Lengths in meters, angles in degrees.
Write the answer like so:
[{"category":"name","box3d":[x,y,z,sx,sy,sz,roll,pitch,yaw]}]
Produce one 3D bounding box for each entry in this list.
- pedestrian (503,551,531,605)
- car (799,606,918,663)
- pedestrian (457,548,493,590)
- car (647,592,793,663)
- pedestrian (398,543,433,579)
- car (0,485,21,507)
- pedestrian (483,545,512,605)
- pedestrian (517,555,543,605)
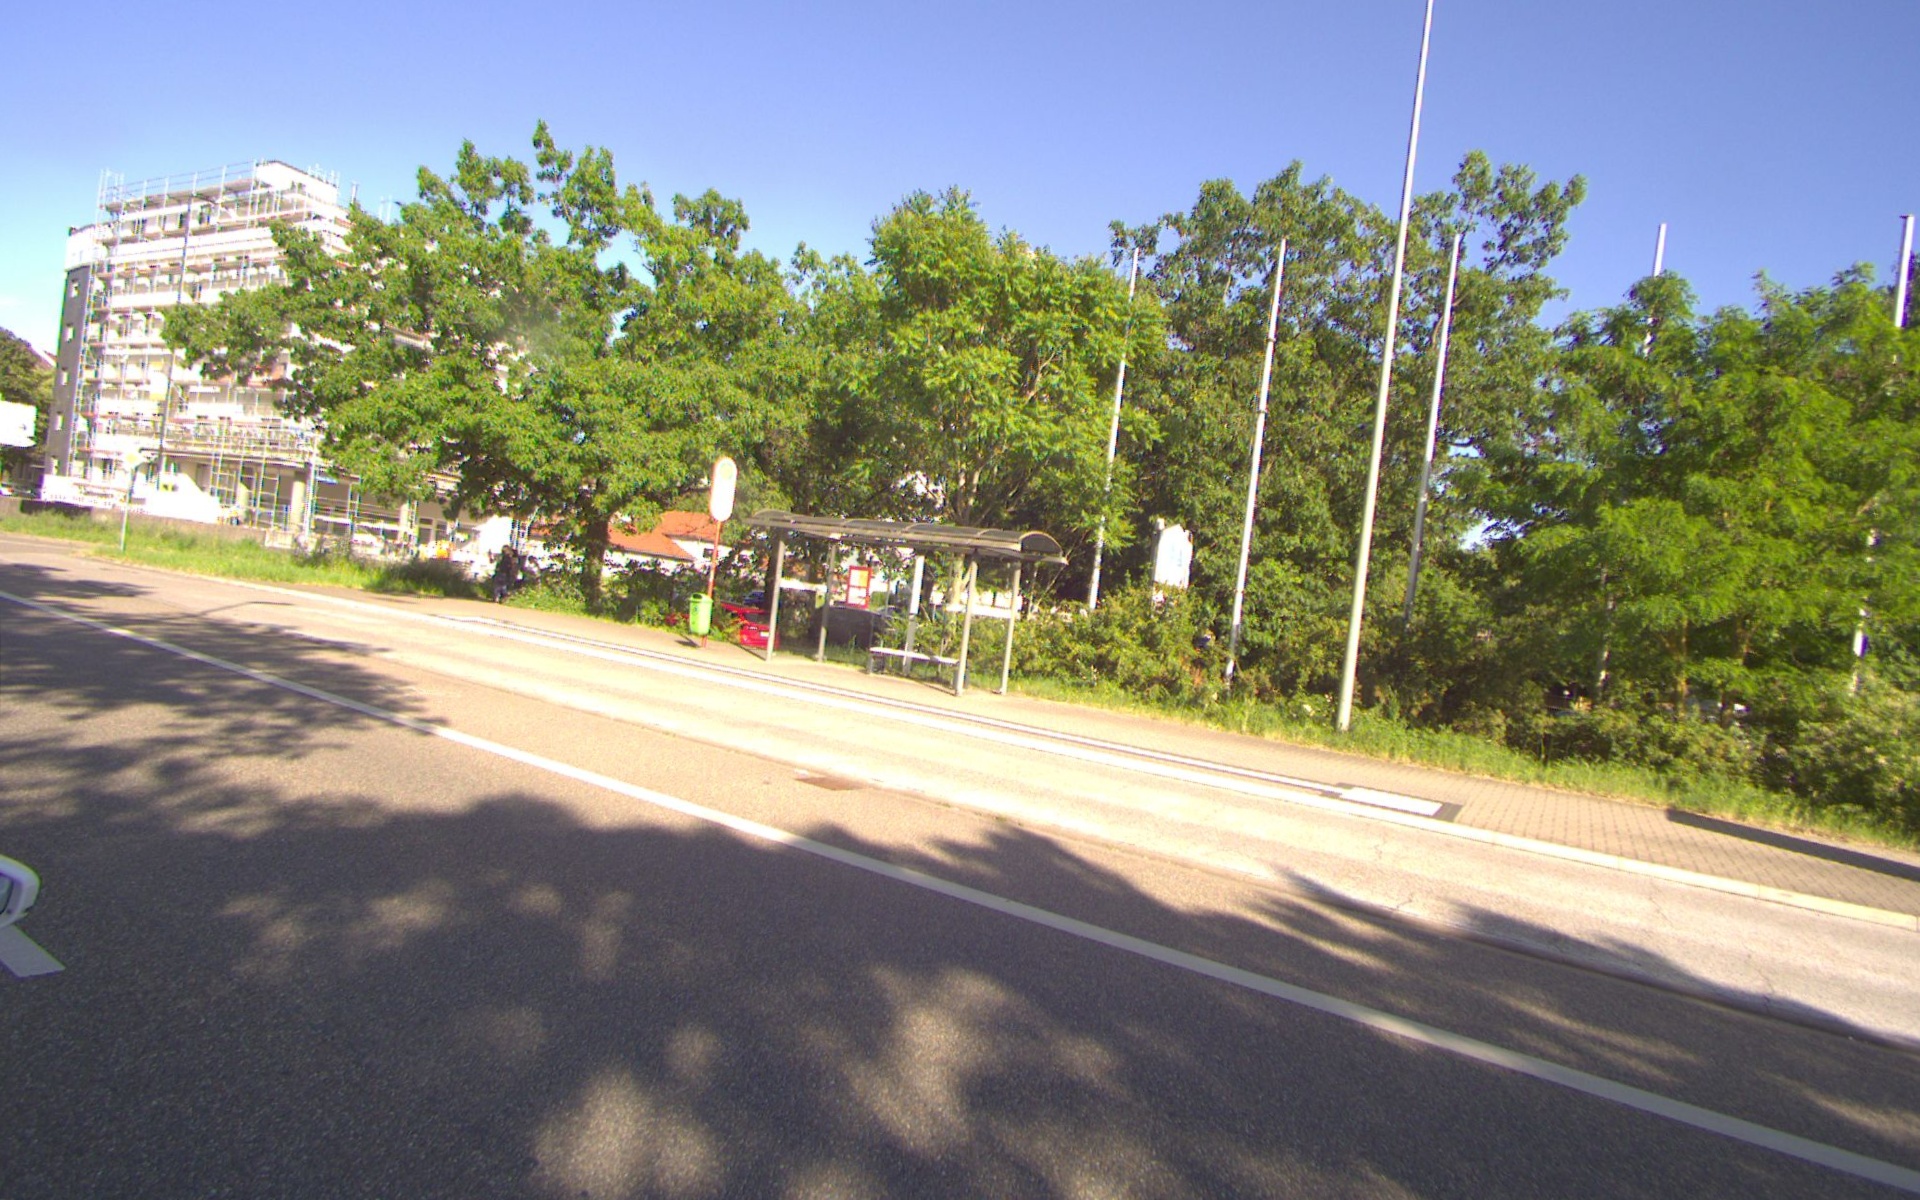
[{"category":"pedestrian","box3d":[-12.738,-0.637,28.936,0.517,1.465,0.587,7,1,-32]},{"category":"car","box3d":[-3.590,1.216,35.977,3.674,1.504,1.914,7,0,13]},{"category":"pedestrian","box3d":[-21.355,-1.356,44.297,0.969,1.674,0.891,7,0,4]},{"category":"car","box3d":[-6.873,0.795,28.743,3.680,1.504,1.755,7,0,28]},{"category":"pedestrian","box3d":[-24.857,-1.790,45.927,0.947,1.465,0.895,7,0,6]},{"category":"car","box3d":[-66.547,-7.268,69.995,1.521,1.330,3.250,7,0,-40]},{"category":"pedestrian","box3d":[-13.045,-0.705,28.381,0.517,1.632,0.587,7,1,-32]},{"category":"pedestrian","box3d":[-13.401,-0.632,31.326,0.517,1.465,0.587,7,1,-32]}]
